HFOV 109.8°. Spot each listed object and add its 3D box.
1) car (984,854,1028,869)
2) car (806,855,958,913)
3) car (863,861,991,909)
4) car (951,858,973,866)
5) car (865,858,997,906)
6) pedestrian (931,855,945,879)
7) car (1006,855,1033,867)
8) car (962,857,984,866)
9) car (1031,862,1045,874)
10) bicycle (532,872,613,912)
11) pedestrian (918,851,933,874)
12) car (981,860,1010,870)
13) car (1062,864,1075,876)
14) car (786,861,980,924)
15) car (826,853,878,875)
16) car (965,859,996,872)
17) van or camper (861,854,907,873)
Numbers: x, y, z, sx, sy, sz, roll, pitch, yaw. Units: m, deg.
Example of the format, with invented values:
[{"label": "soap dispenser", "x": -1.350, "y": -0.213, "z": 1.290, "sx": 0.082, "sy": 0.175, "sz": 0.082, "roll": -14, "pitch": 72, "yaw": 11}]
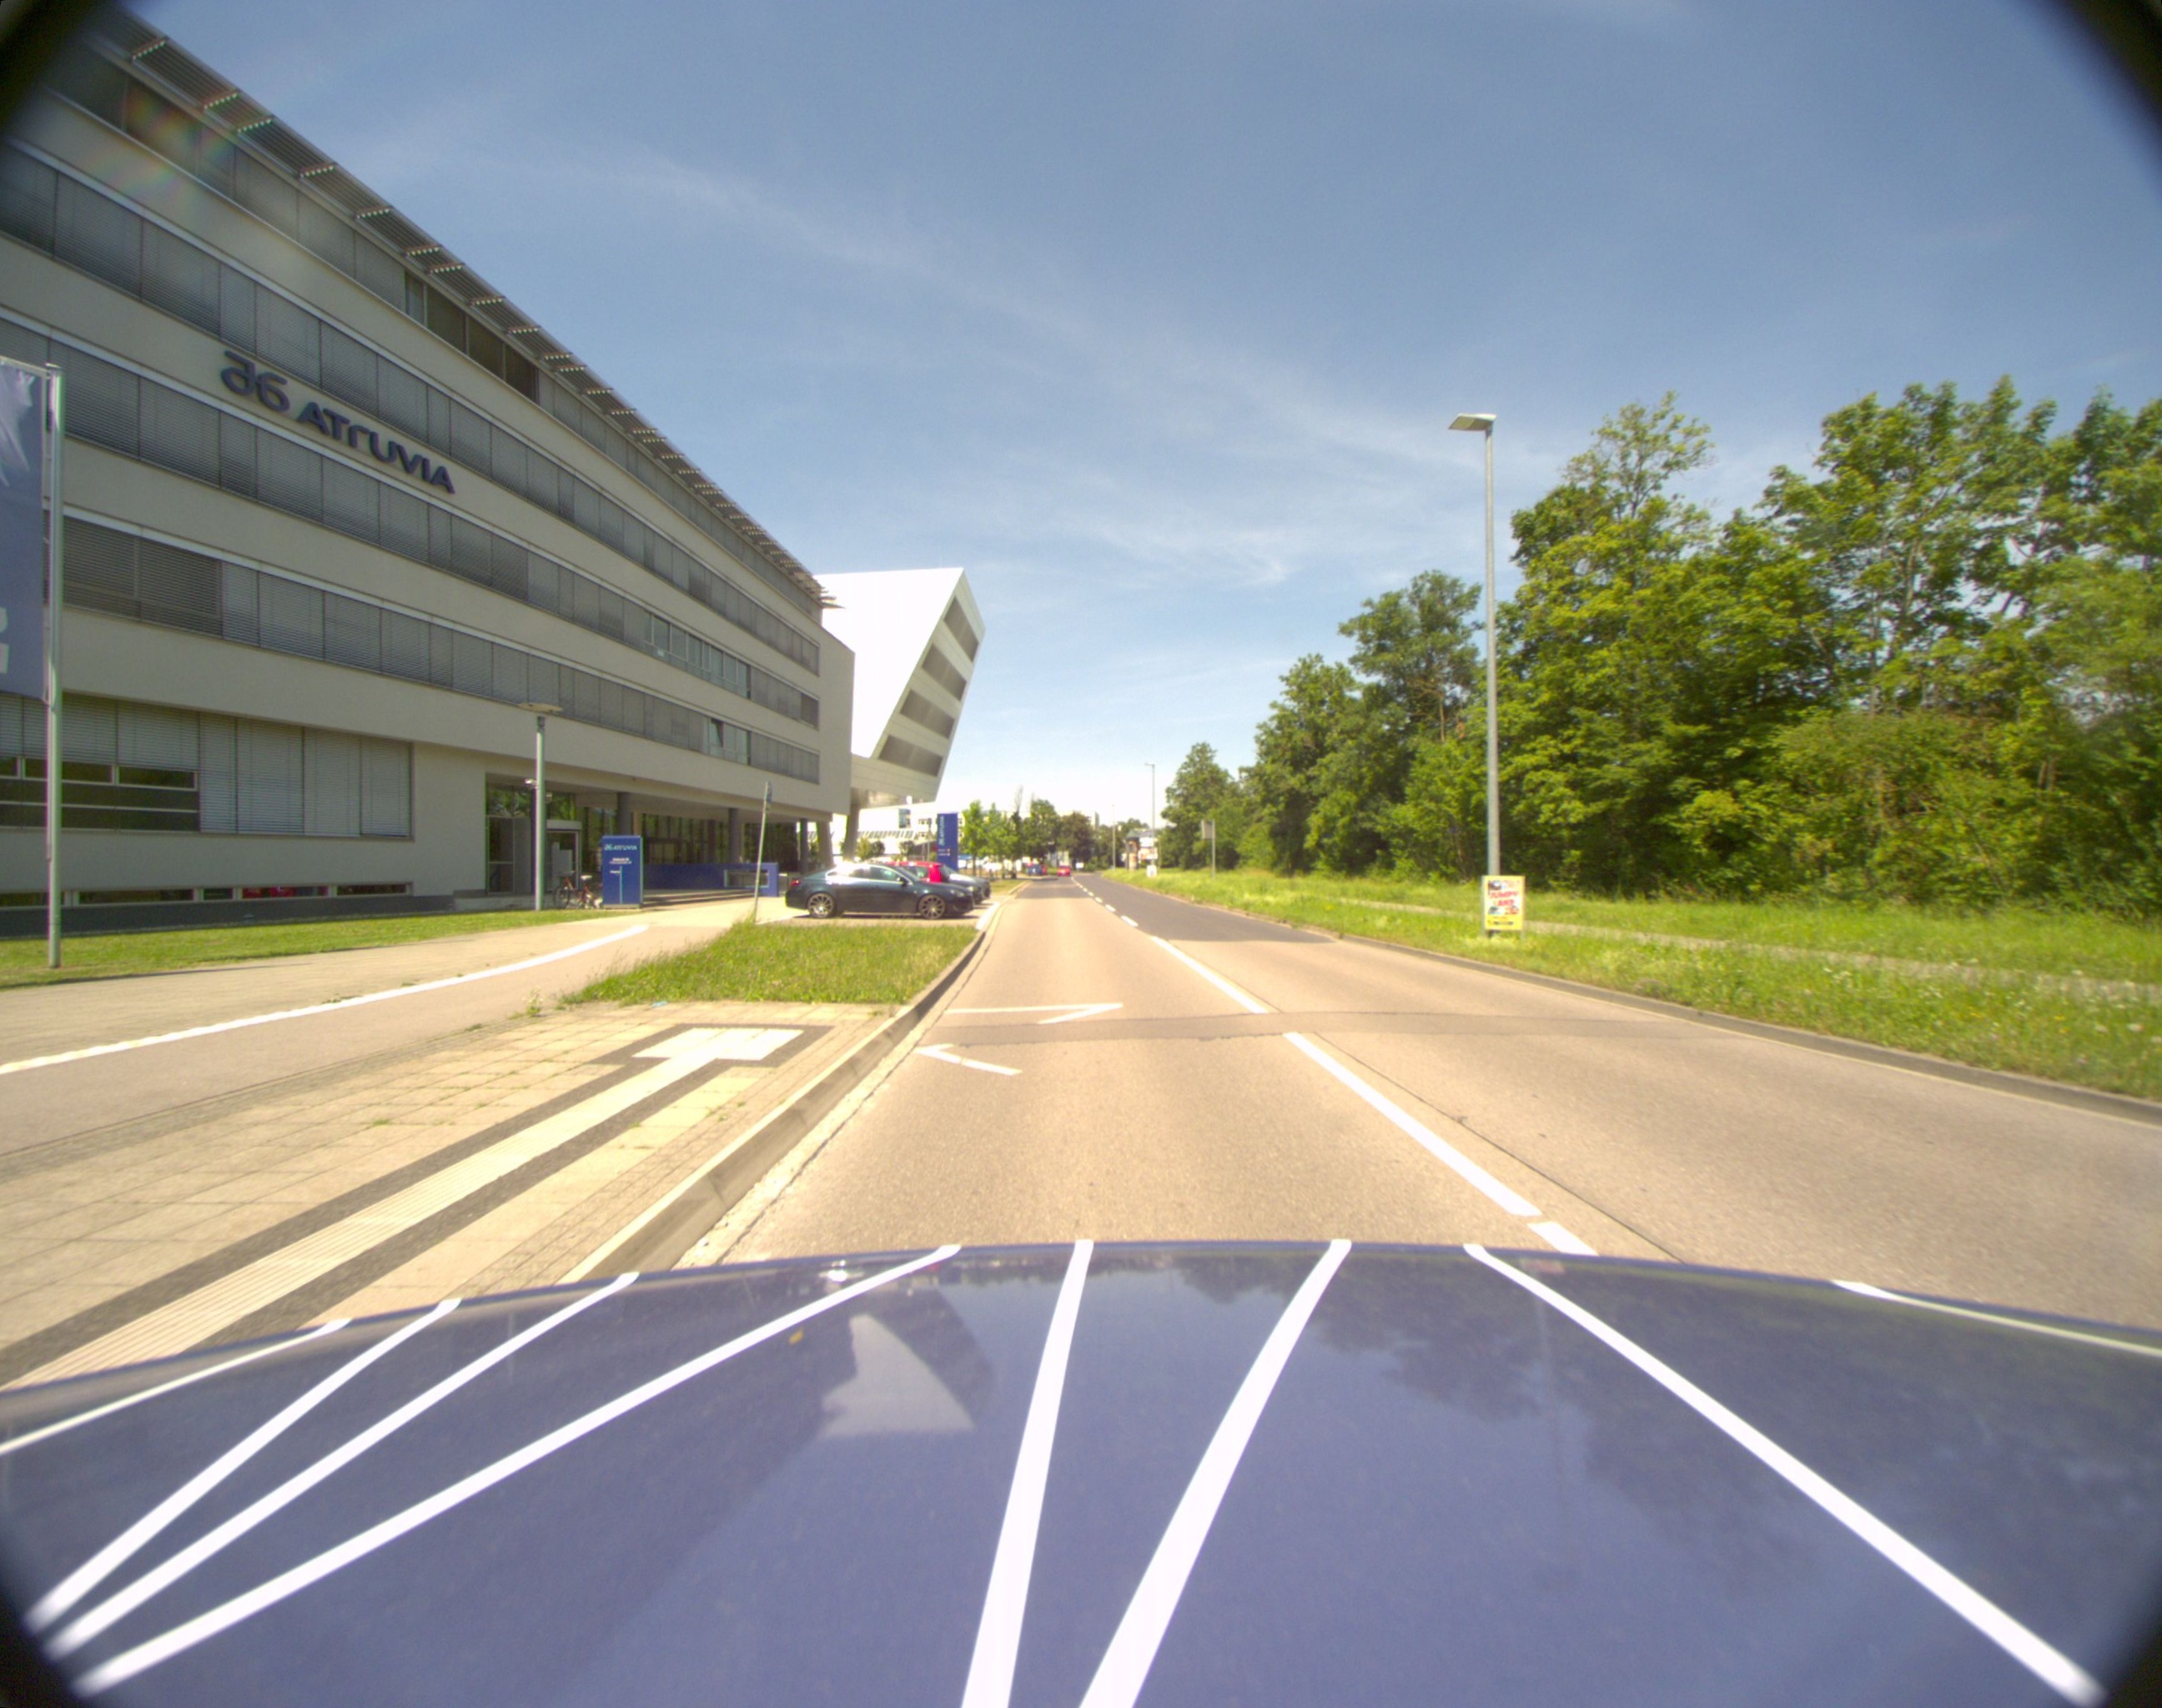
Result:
[{"label": "car", "x": -11.890, "y": 1.173, "z": 120.702, "sx": 6.493, "sy": 2.137, "sz": 2.165, "roll": -1, "pitch": 0, "yaw": 5}, {"label": "car", "x": -5.816, "y": 0.850, "z": 22.529, "sx": 3.997, "sy": 1.645, "sz": 1.839, "roll": 0, "pitch": 0, "yaw": 0}, {"label": "car", "x": -4.948, "y": 0.984, "z": 24.717, "sx": 3.817, "sy": 1.477, "sz": 1.655, "roll": 1, "pitch": 0, "yaw": 0}, {"label": "car", "x": -23.485, "y": 1.539, "z": 149.524, "sx": 3.917, "sy": 1.533, "sz": 1.704, "roll": -1, "pitch": 0, "yaw": 5}, {"label": "car", "x": -5.272, "y": 0.969, "z": 27.128, "sx": 4.332, "sy": 1.554, "sz": 1.786, "roll": 1, "pitch": 0, "yaw": -1}, {"label": "pedestrian", "x": -10.325, "y": 0.950, "z": 54.780, "sx": 0.844, "sy": 1.691, "sz": 0.775, "roll": -1, "pitch": 0, "yaw": -3}, {"label": "car", "x": -10.189, "y": 1.127, "z": 126.499, "sx": 4.204, "sy": 1.964, "sz": 1.704, "roll": -1, "pitch": 0, "yaw": 5}, {"label": "car", "x": -22.876, "y": 1.598, "z": 161.046, "sx": 4.321, "sy": 1.647, "sz": 1.704, "roll": -1, "pitch": 0, "yaw": 5}, {"label": "car", "x": -5.777, "y": 1.875, "z": 102.006, "sx": 1.802, "sy": 1.490, "sz": 3.999, "roll": -1, "pitch": 0, "yaw": -3}, {"label": "bicycle", "x": -14.177, "y": 1.047, "z": 21.193, "sx": 1.882, "sy": 1.054, "sz": 0.534, "roll": -1, "pitch": 0, "yaw": 2}, {"label": "pedestrian", "x": -11.196, "y": 0.602, "z": 54.724, "sx": 0.844, "sy": 1.650, "sz": 0.775, "roll": -1, "pitch": 0, "yaw": -3}, {"label": "car", "x": -12.743, "y": 1.697, "z": 113.430, "sx": 3.996, "sy": 1.385, "sz": 1.653, "roll": -1, "pitch": 0, "yaw": 1}, {"label": "car", "x": -1.707, "y": 2.164, "z": 104.082, "sx": 1.662, "sy": 1.494, "sz": 3.357, "roll": -1, "pitch": 0, "yaw": 0}, {"label": "car", "x": -5.018, "y": 0.972, "z": 19.777, "sx": 4.580, "sy": 1.423, "sz": 1.827, "roll": 2, "pitch": 0, "yaw": -3}, {"label": "car", "x": -27.206, "y": 1.152, "z": 90.309, "sx": 5.581, "sy": 2.445, "sz": 2.001, "roll": -1, "pitch": 0, "yaw": 5}, {"label": "car", "x": -13.707, "y": 1.612, "z": 103.687, "sx": 3.822, "sy": 1.664, "sz": 1.741, "roll": -1, "pitch": 0, "yaw": 1}, {"label": "van or camper", "x": -26.773, "y": 1.272, "z": 103.132, "sx": 5.700, "sy": 2.376, "sz": 1.704, "roll": -1, "pitch": 0, "yaw": 5}]
